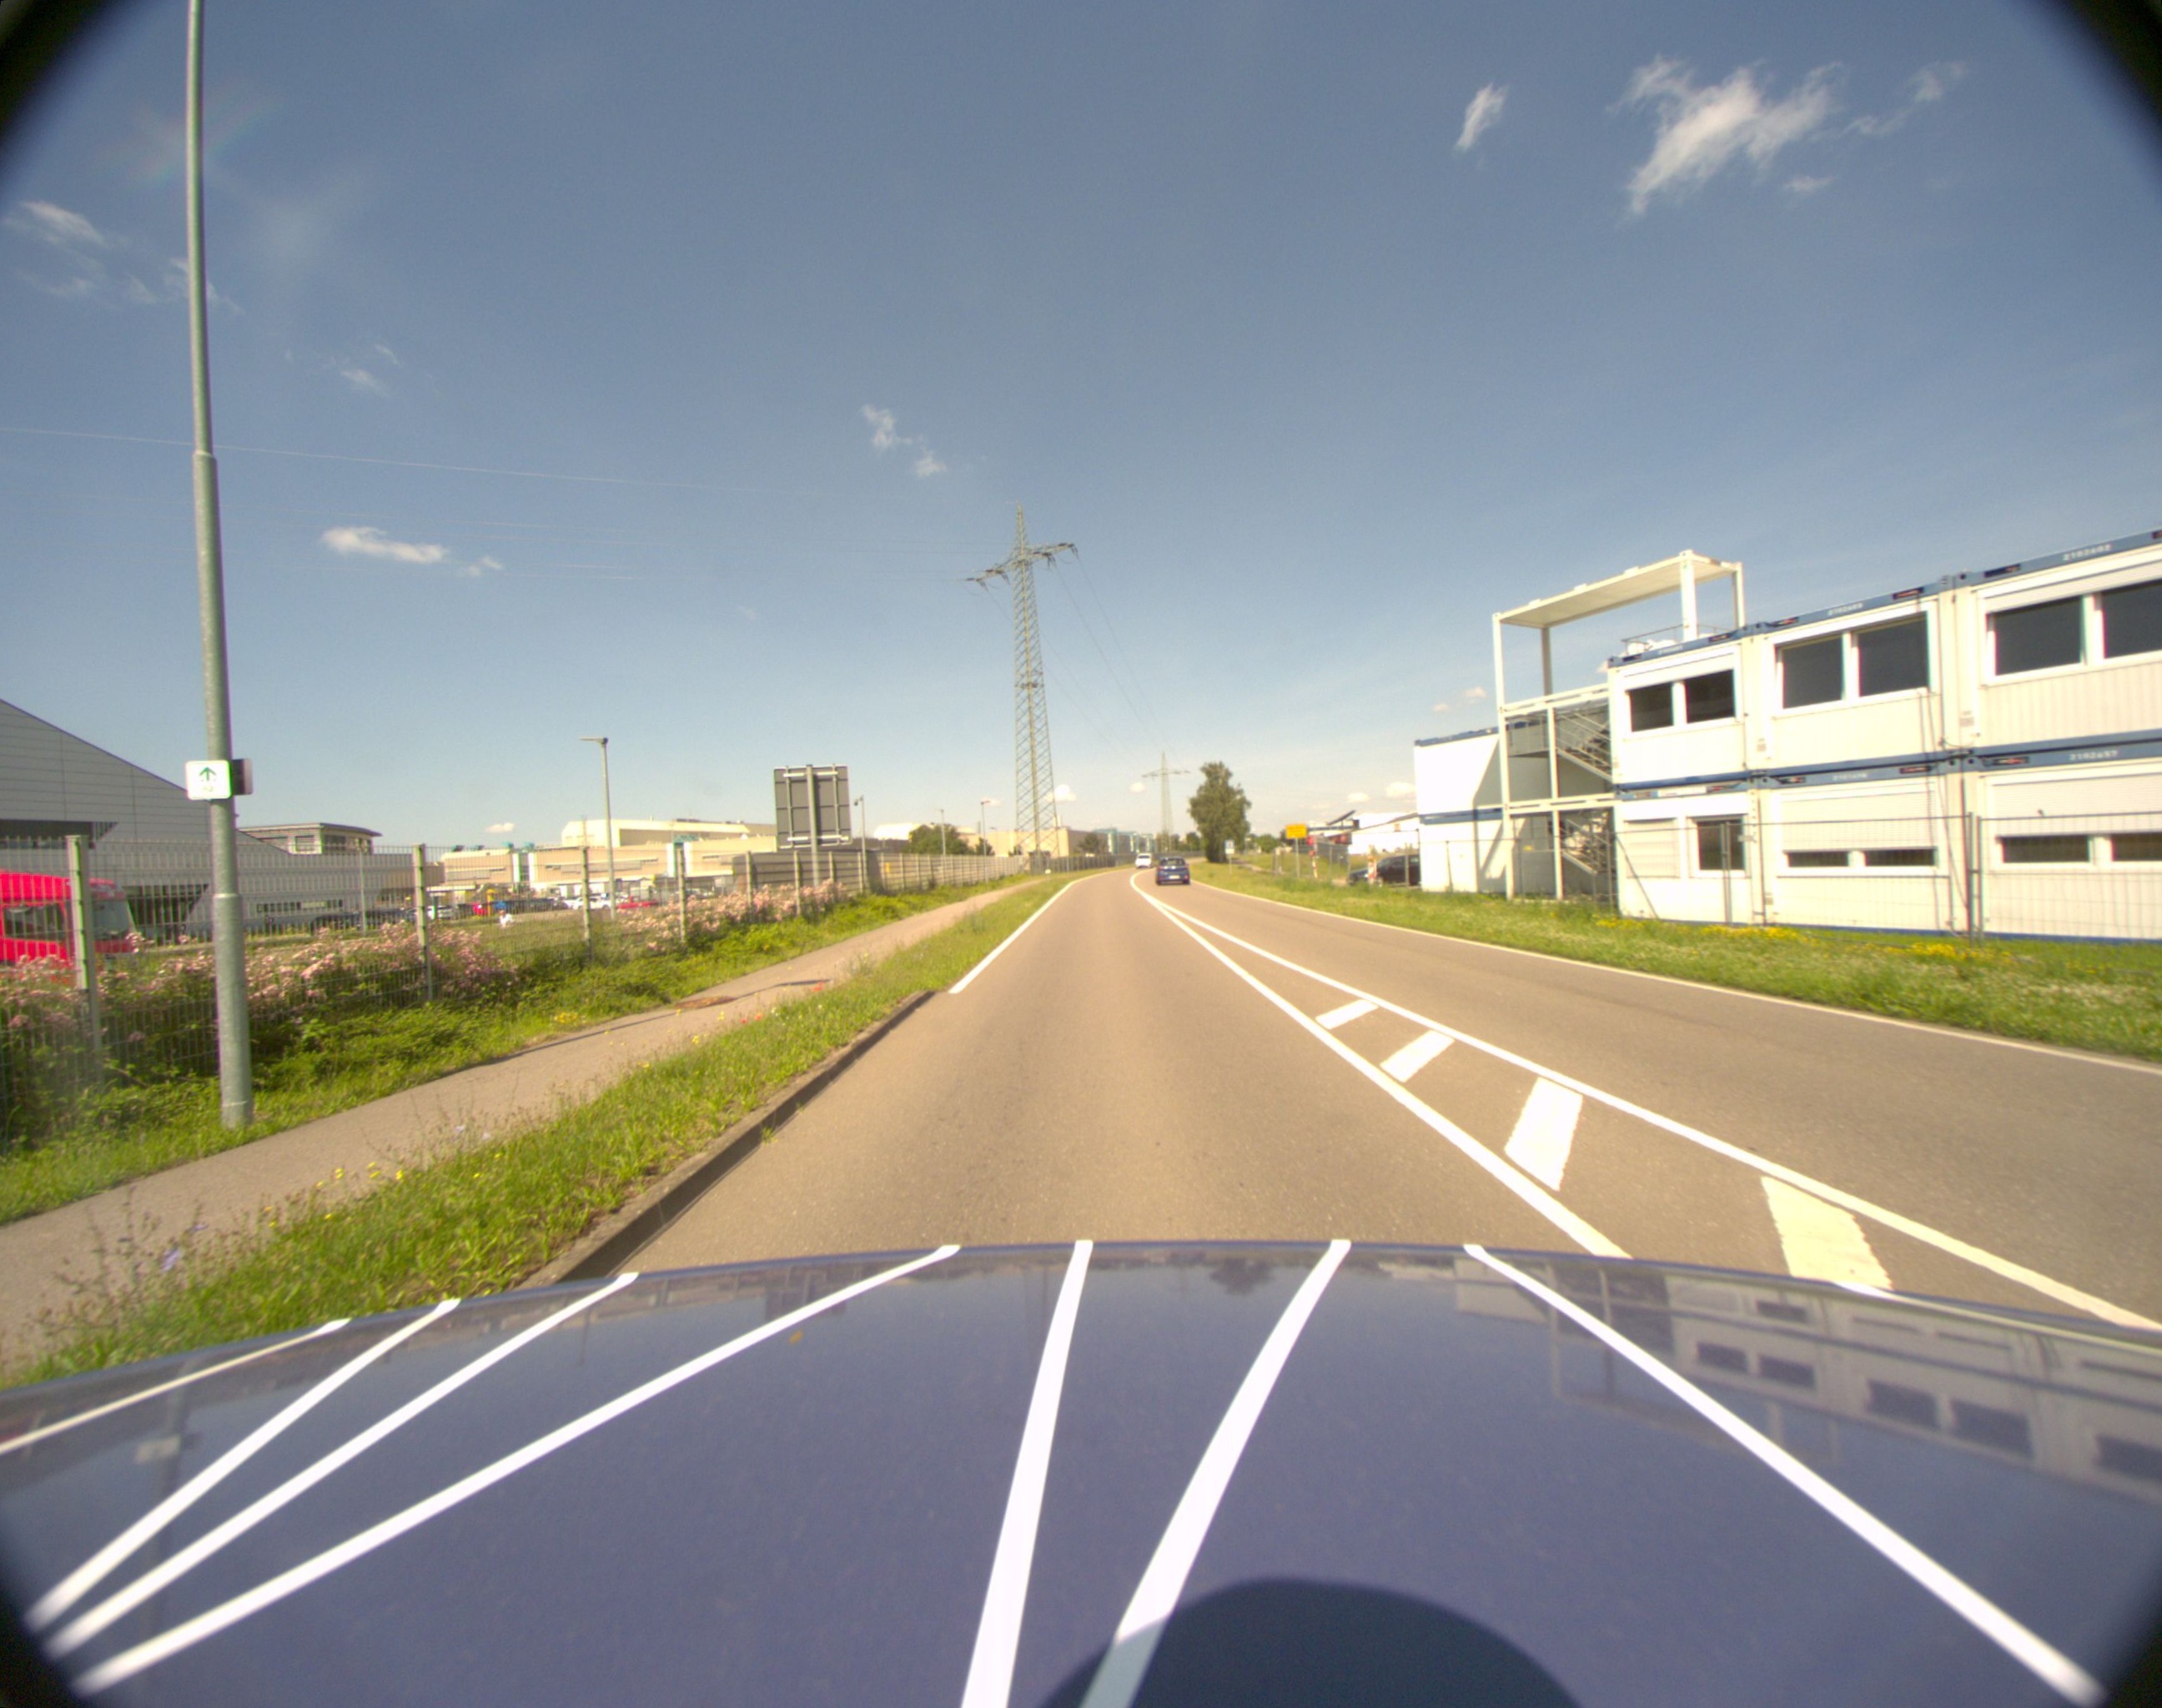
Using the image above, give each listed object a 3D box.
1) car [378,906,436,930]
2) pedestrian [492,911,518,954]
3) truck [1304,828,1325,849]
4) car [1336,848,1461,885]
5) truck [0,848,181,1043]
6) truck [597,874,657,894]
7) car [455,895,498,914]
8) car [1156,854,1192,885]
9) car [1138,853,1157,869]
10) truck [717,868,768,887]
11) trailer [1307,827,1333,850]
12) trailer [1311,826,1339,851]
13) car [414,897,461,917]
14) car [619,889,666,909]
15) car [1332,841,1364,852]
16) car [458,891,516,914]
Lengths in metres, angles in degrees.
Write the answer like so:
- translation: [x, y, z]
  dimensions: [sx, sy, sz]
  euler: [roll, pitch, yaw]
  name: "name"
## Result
- translation: [-49.335, 4.684, 55.632]
  dimensions: [3.053, 1.525, 1.472]
  euler: [-3, 1, 7]
  name: "car"
- translation: [-23.161, 3.159, 30.565]
  dimensions: [0.484, 1.643, 0.574]
  euler: [-3, 1, 5]
  name: "pedestrian"
- translation: [43.737, -2.887, 142.595]
  dimensions: [3.106, 3.624, 10.603]
  euler: [-2, 1, 14]
  name: "truck"
- translation: [14.738, 0.561, 35.350]
  dimensions: [4.984, 1.408, 1.999]
  euler: [-3, 0, -8]
  name: "car"
- translation: [-27.799, 2.172, 15.910]
  dimensions: [10.990, 4.232, 3.021]
  euler: [-2, 1, -31]
  name: "truck"
- translation: [-86.867, 5.754, 145.778]
  dimensions: [1.997, 3.119, 11.861]
  euler: [-4, 0, 12]
  name: "truck"
- translation: [-58.743, 4.923, 73.911]
  dimensions: [3.053, 1.525, 1.472]
  euler: [-3, 1, 7]
  name: "car"
- translation: [4.963, 0.777, 40.903]
  dimensions: [1.706, 1.473, 4.001]
  euler: [-2, 1, 4]
  name: "car"
- translation: [8.152, 0.862, 92.830]
  dimensions: [1.835, 1.796, 4.833]
  euler: [-1, 1, 10]
  name: "car"
- translation: [-64.448, 4.408, 145.006]
  dimensions: [1.997, 2.944, 11.861]
  euler: [-4, 0, 12]
  name: "truck"
- translation: [40.793, -2.622, 130.188]
  dimensions: [3.295, 3.624, 14.938]
  euler: [-2, 1, 14]
  name: "trailer"
- translation: [38.045, -2.377, 118.731]
  dimensions: [3.404, 3.624, 8.666]
  euler: [-2, 1, 14]
  name: "trailer"
- translation: [-58.291, 4.807, 68.852]
  dimensions: [3.053, 1.525, 1.472]
  euler: [-3, 1, 7]
  name: "car"
- translation: [-37.971, 3.906, 65.844]
  dimensions: [3.148, 1.525, 1.456]
  euler: [-3, 1, 7]
  name: "car"
- translation: [36.467, -1.015, 103.864]
  dimensions: [3.993, 1.335, 1.749]
  euler: [-3, 0, 14]
  name: "car"
- translation: [-62.165, 5.049, 79.508]
  dimensions: [4.746, 2.002, 2.001]
  euler: [-4, 0, 11]
  name: "car"
